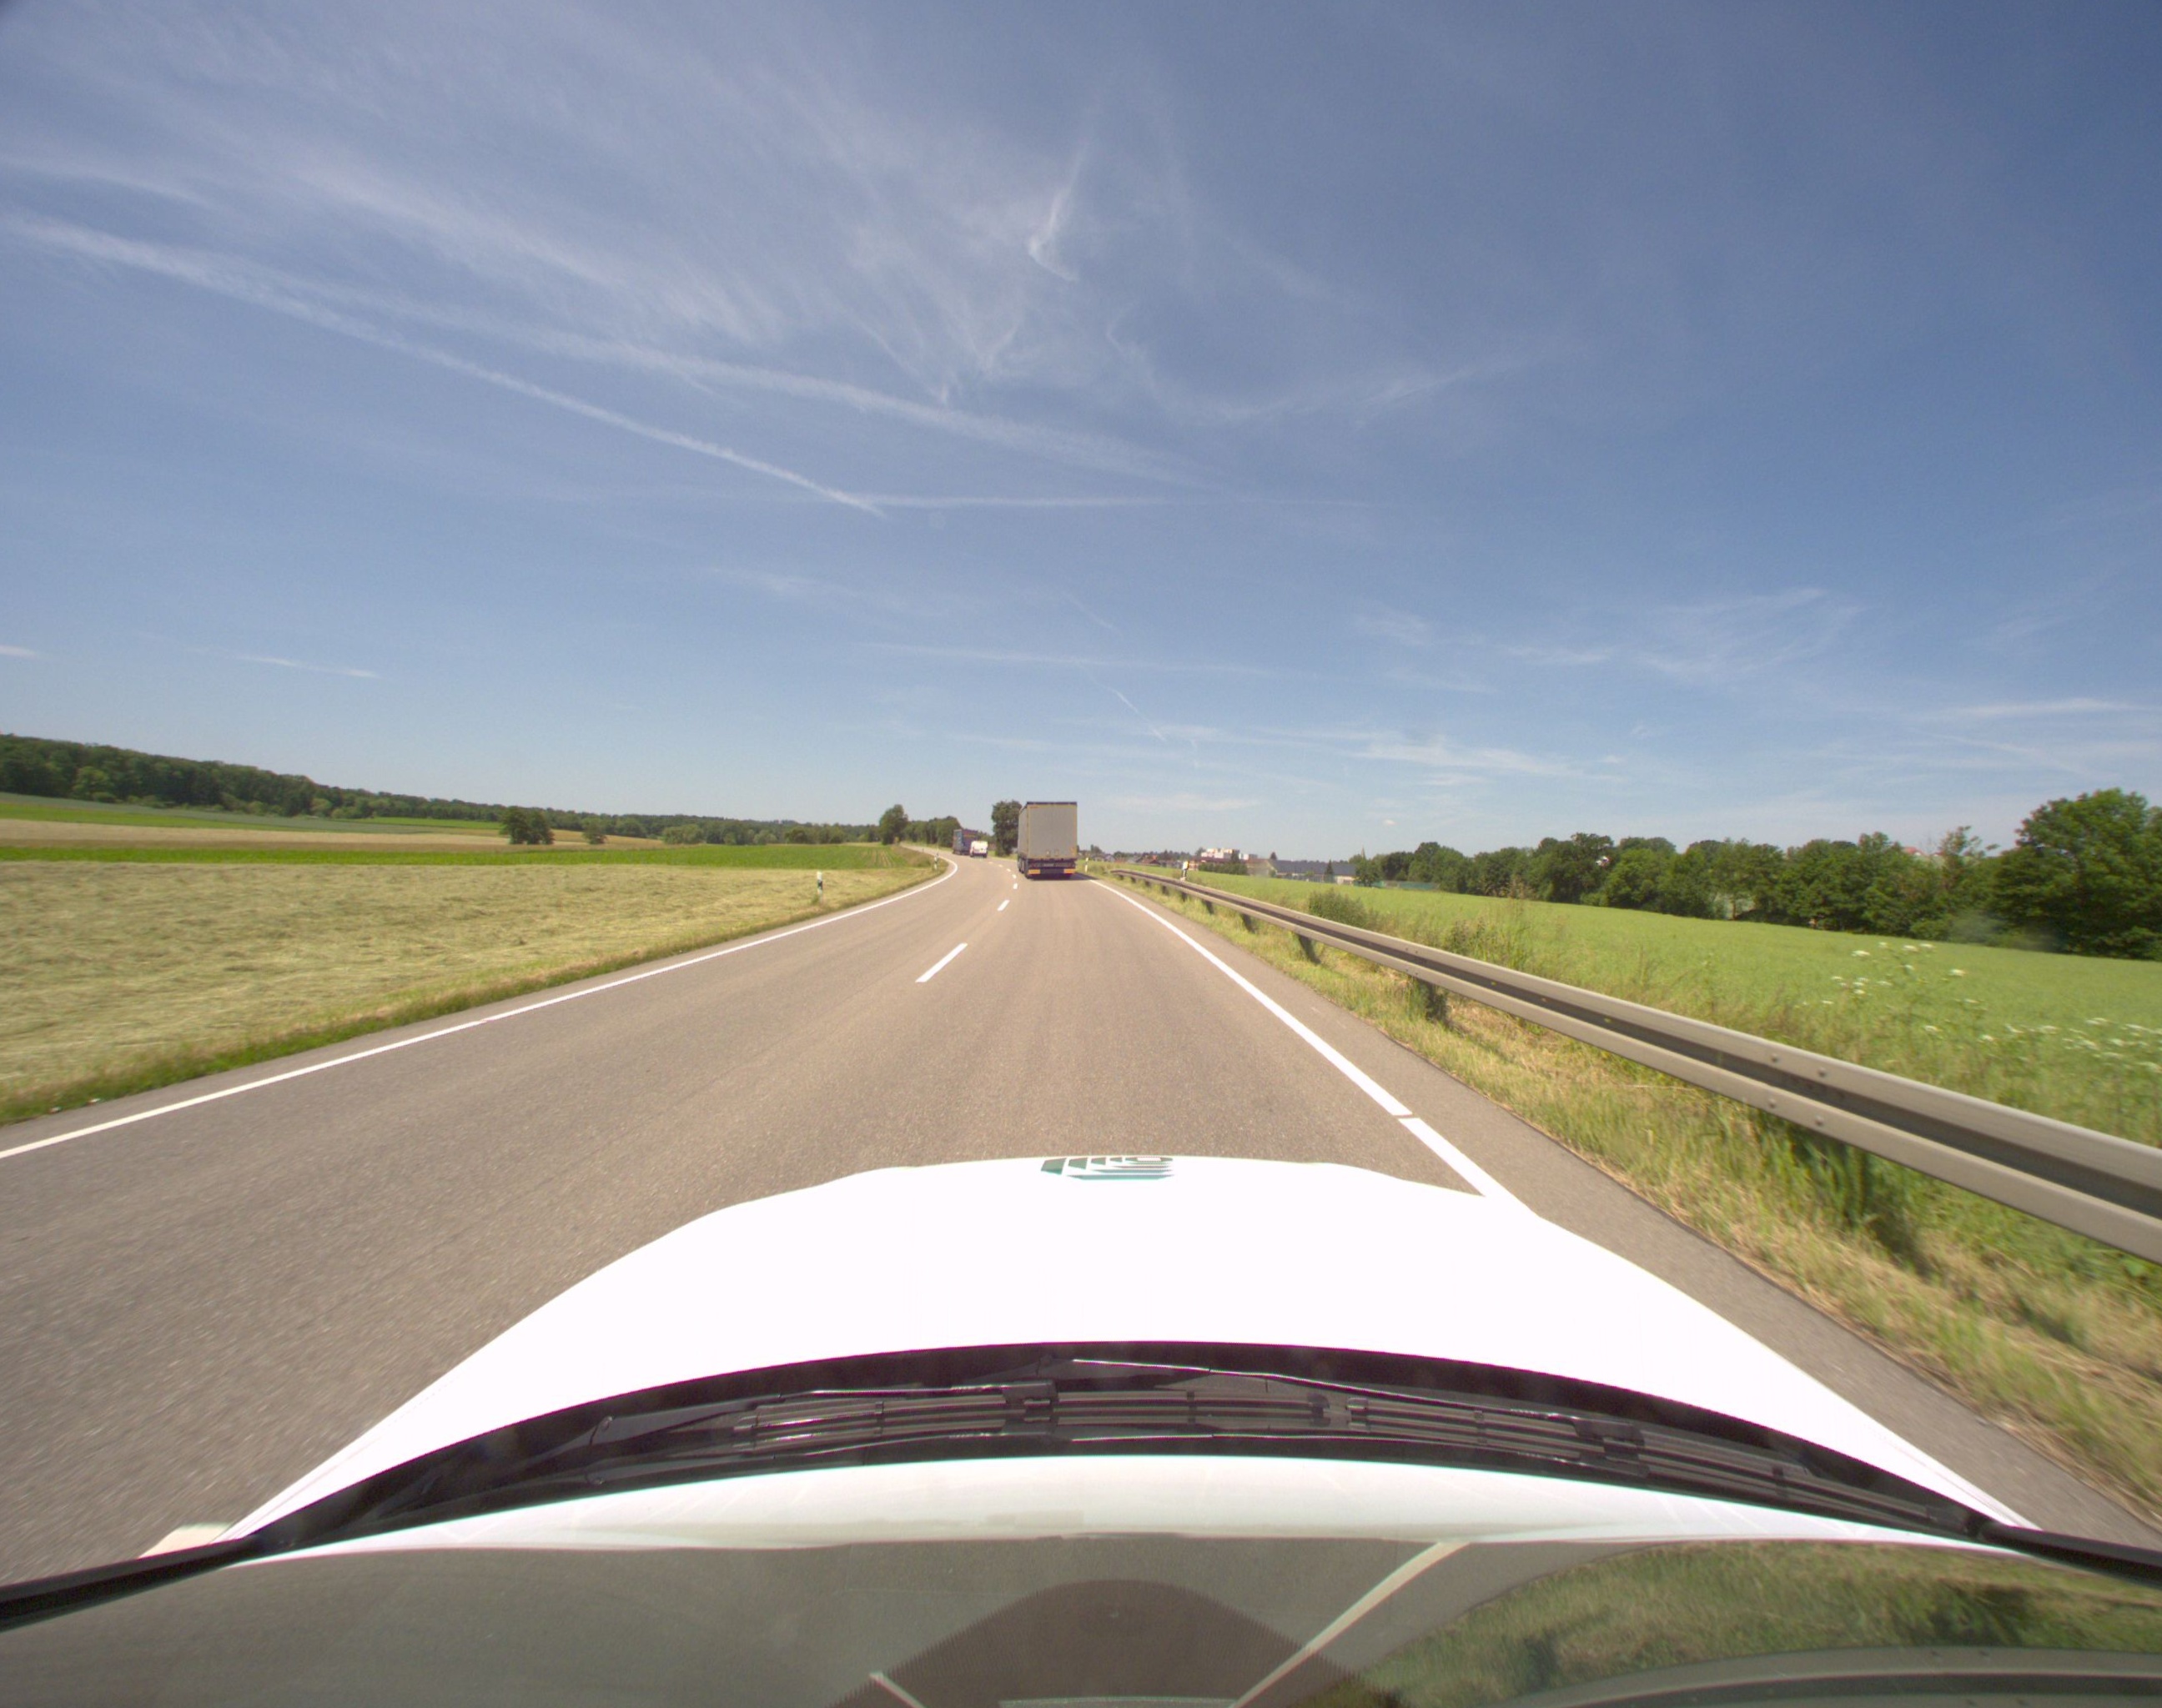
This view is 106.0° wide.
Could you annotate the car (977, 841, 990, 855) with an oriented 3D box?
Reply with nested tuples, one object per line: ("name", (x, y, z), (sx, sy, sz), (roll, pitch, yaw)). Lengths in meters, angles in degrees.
("car", (-13.414, -0.859, 111.750), (1.724, 1.872, 3.991), (1, 0, -7))

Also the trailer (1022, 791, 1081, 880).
("trailer", (-1.839, -0.981, 47.408), (2.861, 4.400, 13.477), (-1, 0, -3))

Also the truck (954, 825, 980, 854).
("truck", (-19.209, -2.342, 135.905), (3.549, 4.392, 18.059), (1, 0, -10))
